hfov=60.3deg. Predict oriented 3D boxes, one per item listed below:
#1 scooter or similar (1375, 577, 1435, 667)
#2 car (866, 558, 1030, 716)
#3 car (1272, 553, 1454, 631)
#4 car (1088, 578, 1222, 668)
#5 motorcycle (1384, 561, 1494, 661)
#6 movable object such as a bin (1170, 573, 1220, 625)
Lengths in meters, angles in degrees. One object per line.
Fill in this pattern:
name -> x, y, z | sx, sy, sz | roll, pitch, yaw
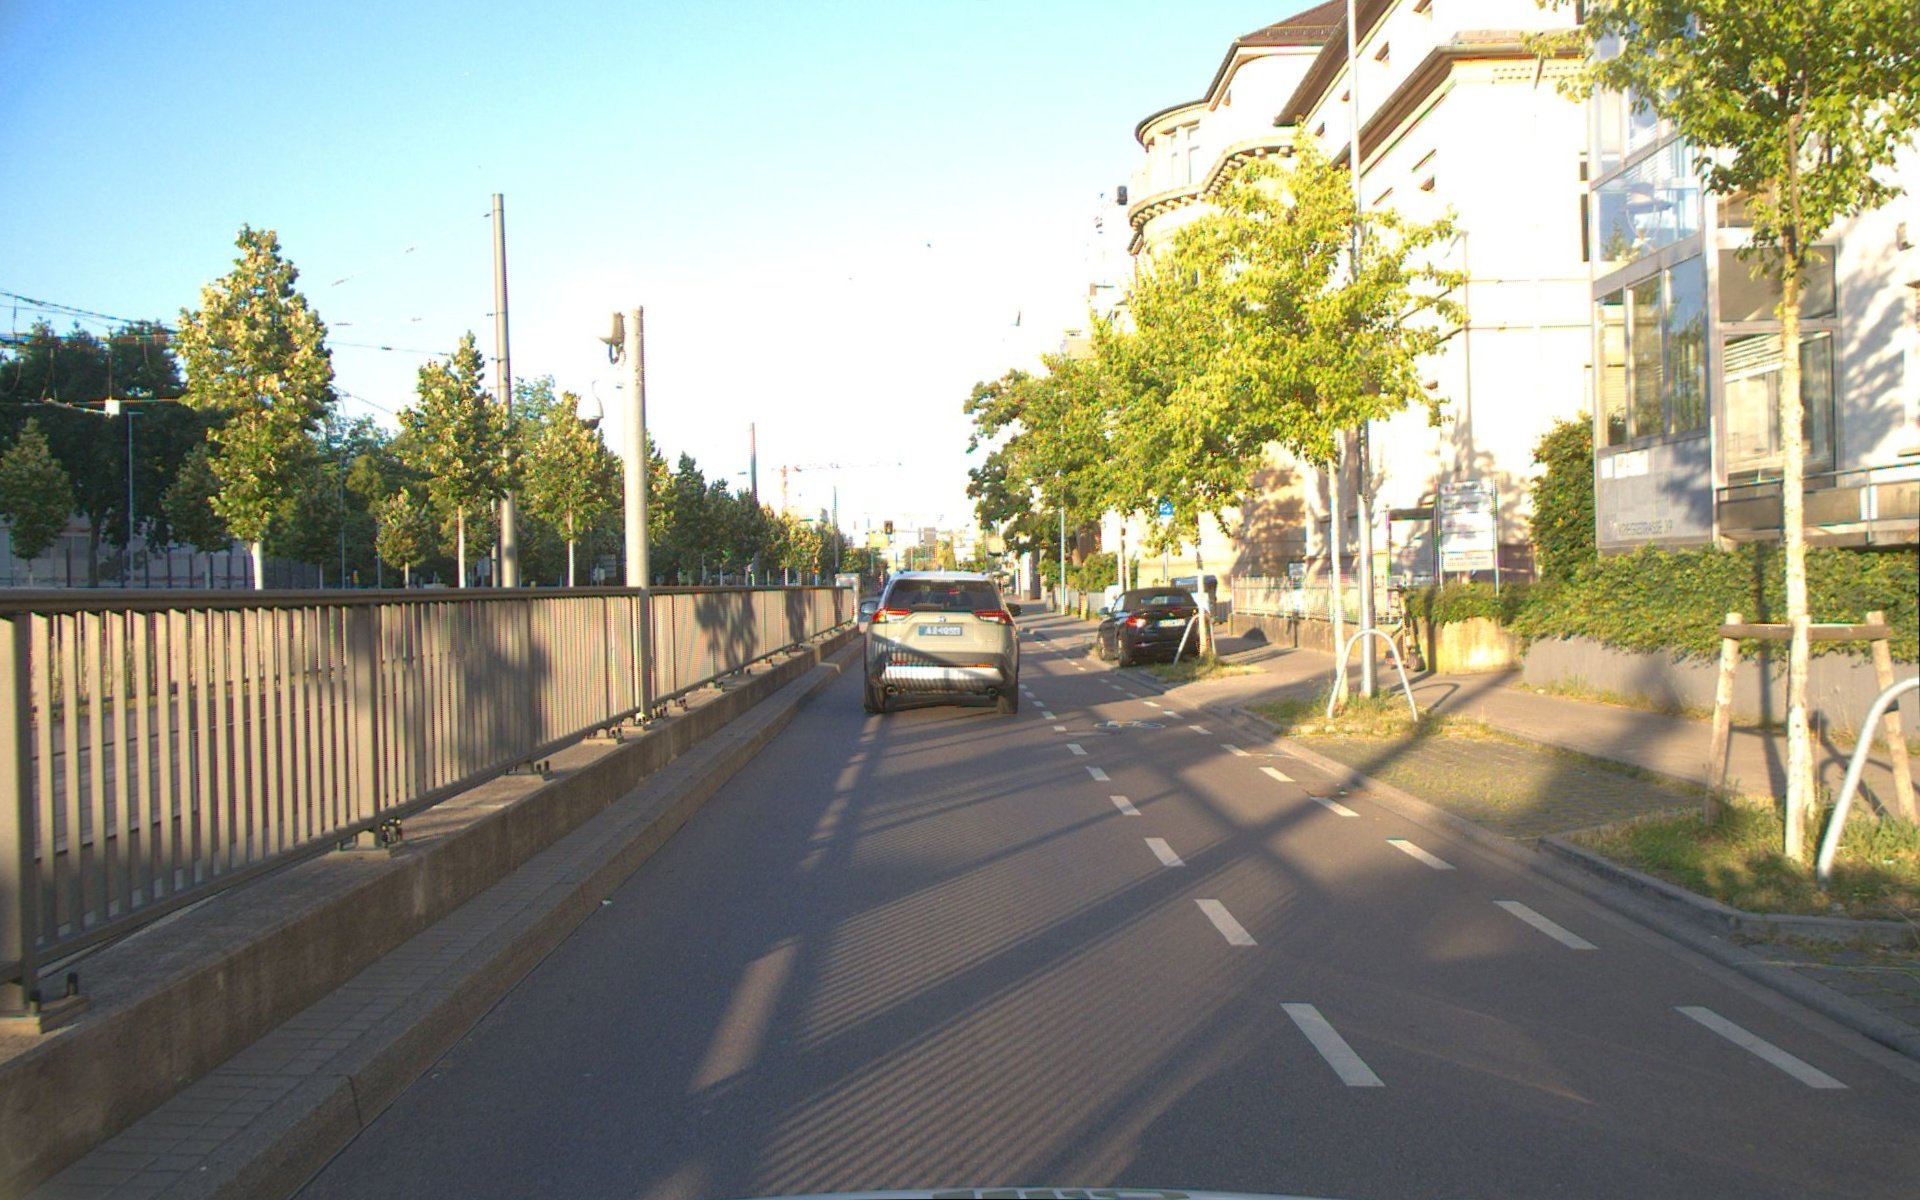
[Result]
scooter or similar -> 6.477, 0.318, 24.122 | 0.481, 1.280, 1.207 | 0, 0, -4
car -> -0.225, 0.401, 20.568 | 1.820, 1.744, 4.190 | 1, 0, -3
car -> 10.212, -0.213, 42.110 | 4.109, 1.598, 1.917 | -5, 0, 1
car -> 3.720, 0.395, 32.274 | 1.757, 1.496, 4.442 | -4, 1, -4
motorcycle -> 7.399, 0.163, 25.575 | 1.467, 1.437, 0.626 | -3, 2, -5
movable object such as a bin -> 6.834, -0.034, 48.173 | 1.235, 1.487, 1.123 | -1, 0, -4
